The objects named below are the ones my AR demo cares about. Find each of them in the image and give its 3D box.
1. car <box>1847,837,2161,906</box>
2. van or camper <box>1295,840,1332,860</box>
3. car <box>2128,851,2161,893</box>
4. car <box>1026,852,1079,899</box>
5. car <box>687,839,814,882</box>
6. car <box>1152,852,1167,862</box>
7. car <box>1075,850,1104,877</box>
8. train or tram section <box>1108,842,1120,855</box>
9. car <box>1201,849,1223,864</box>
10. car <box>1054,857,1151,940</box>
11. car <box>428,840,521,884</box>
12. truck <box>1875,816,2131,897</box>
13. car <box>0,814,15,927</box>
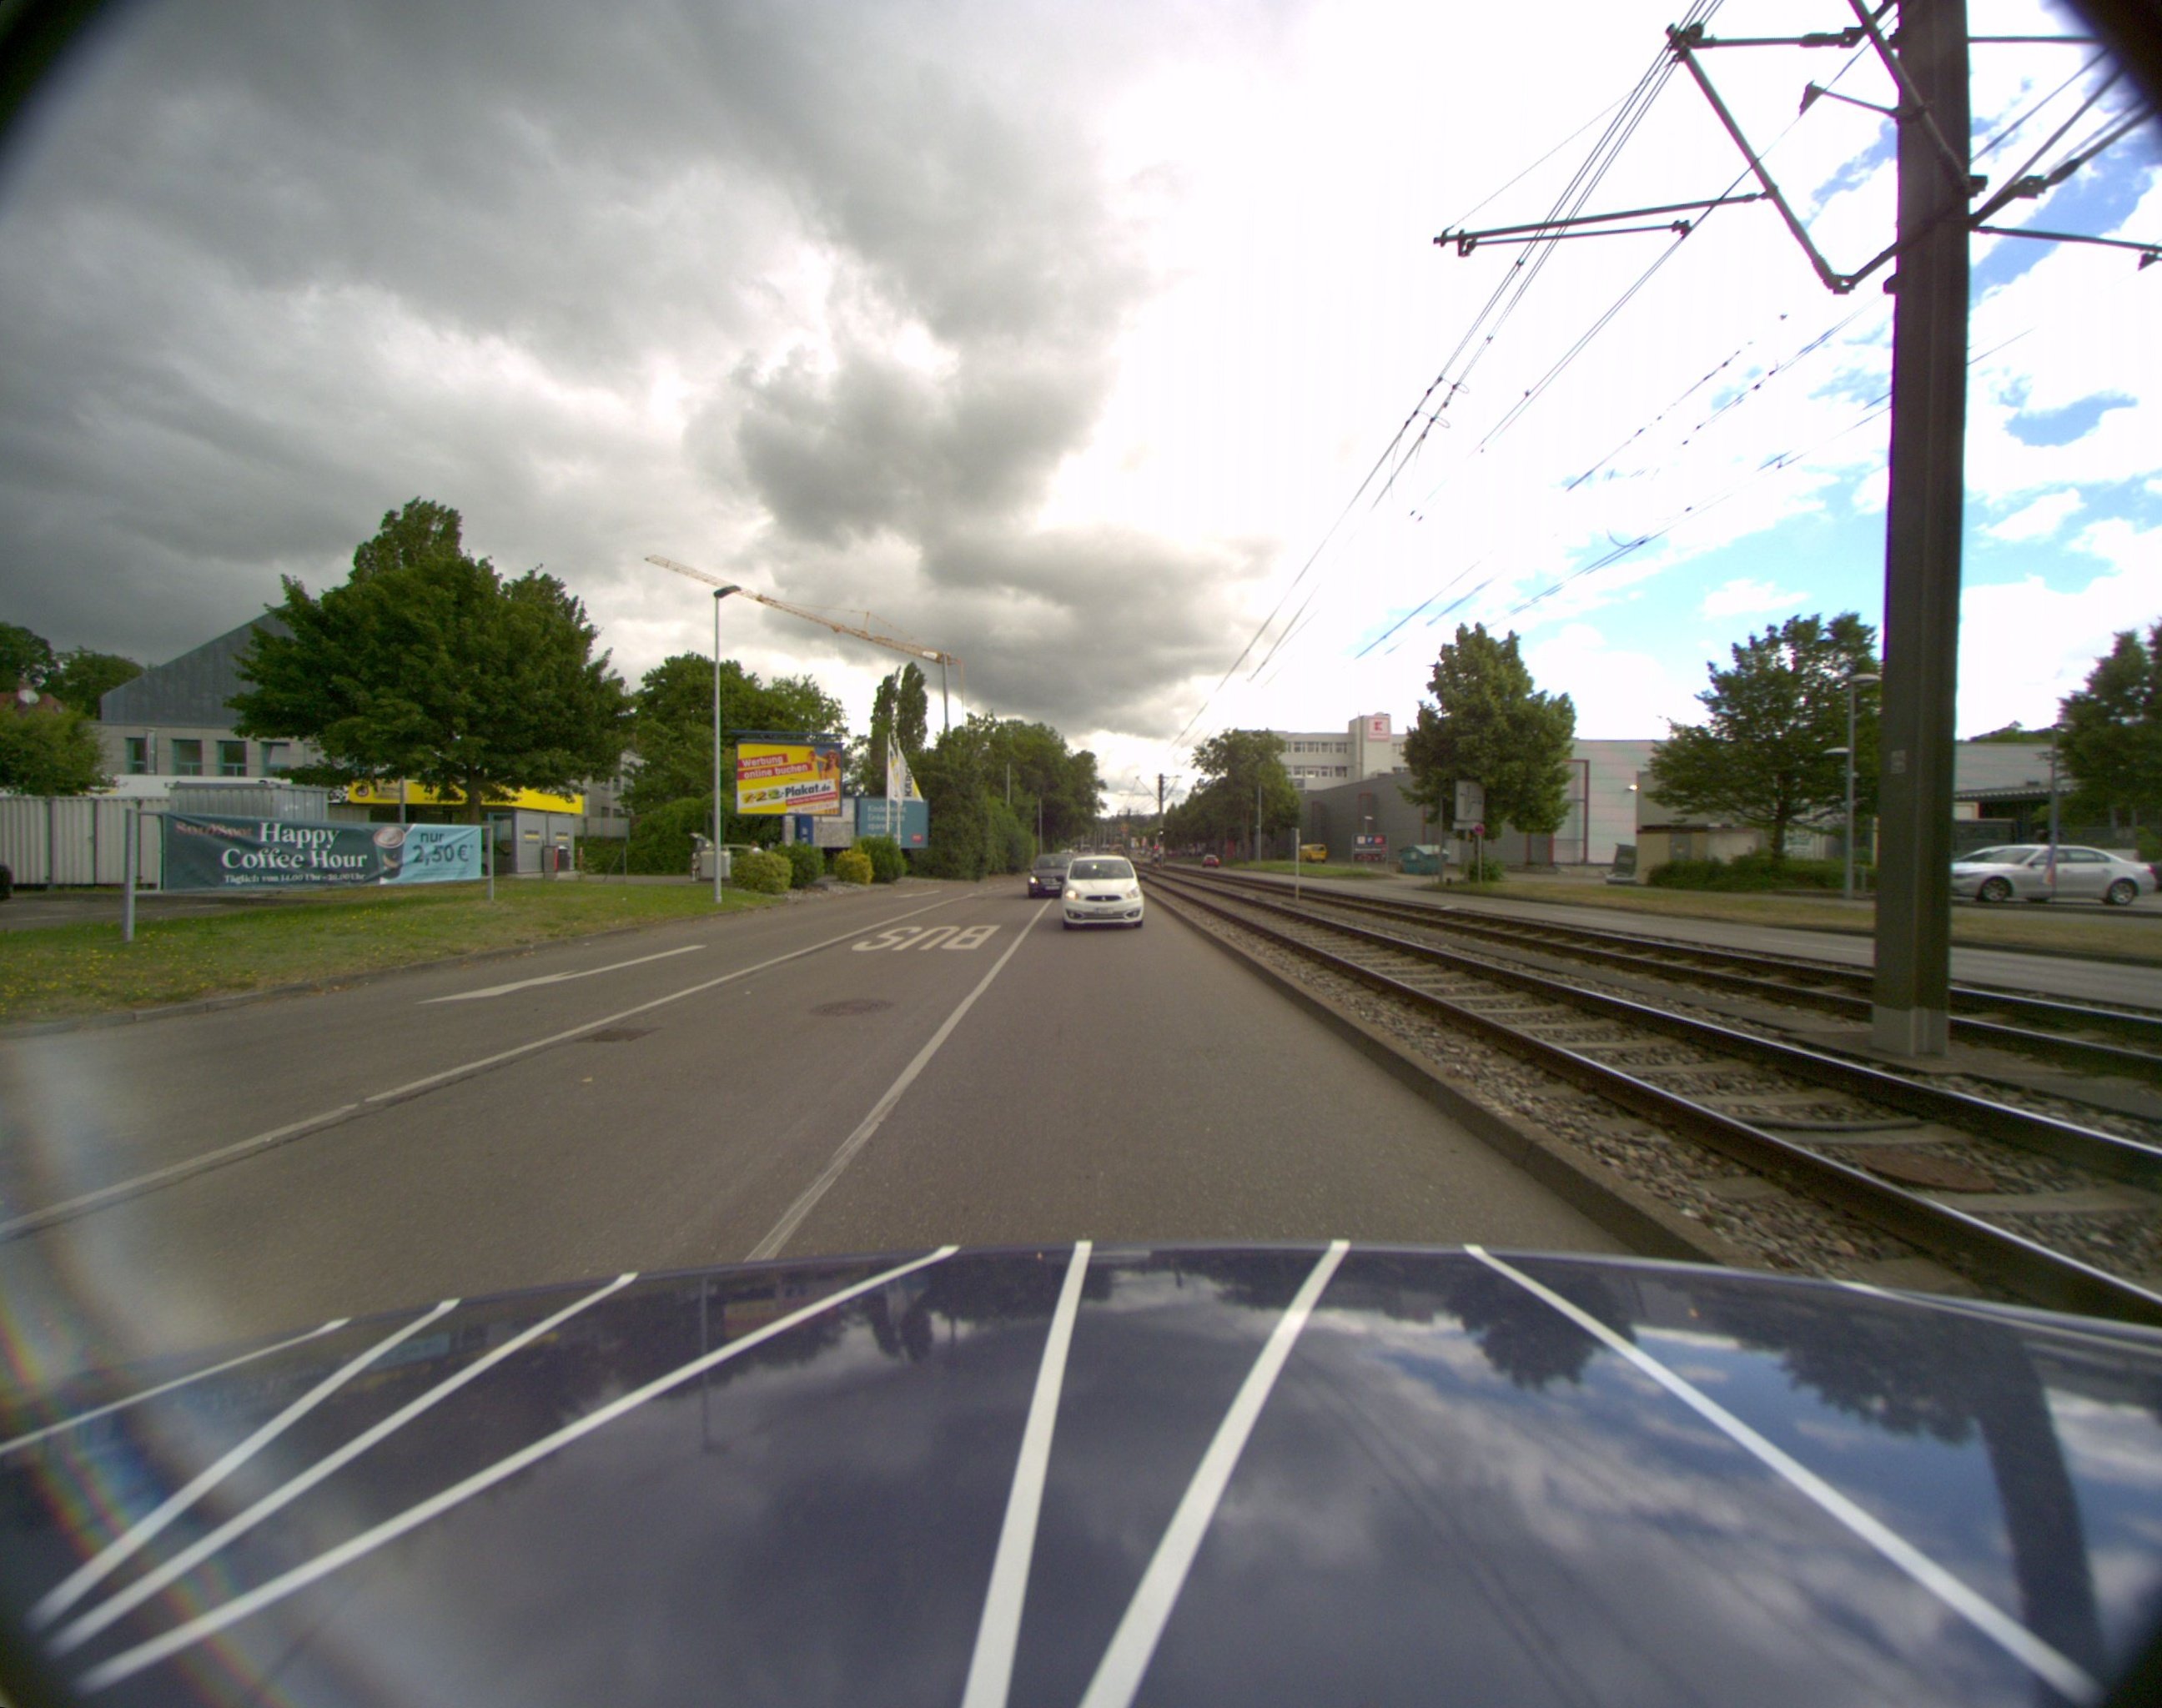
[{"bbox_3d":[23.318,0.428,19.396,4.793,1.619,2.652,0,0,1],"label":"car"},{"bbox_3d":[25.124,-0.427,82.326,2.109,2.002,5.241,-1,0,-3],"label":"van or camper"},{"bbox_3d":[36.950,0.606,24.174,1.614,1.392,3.998,-1,1,-5],"label":"car"},{"bbox_3d":[-0.979,0.740,27.868,1.714,1.586,4.000,-1,0,1],"label":"car"},{"bbox_3d":[-13.370,0.248,31.035,4.029,1.646,2.944,0,0,-6],"label":"car"},{"bbox_3d":[11.786,0.429,114.839,1.763,1.393,4.443,2,0,0],"label":"car"},{"bbox_3d":[0.520,0.526,46.719,1.693,1.521,4.000,-2,1,1],"label":"car"},{"bbox_3d":[9.546,-1.631,221.770,2.778,3.753,13.784,-1,0,-1],"label":"train or tram section"},{"bbox_3d":[15.257,0.262,88.567,1.797,1.761,3.999,0,0,-1],"label":"car"},{"bbox_3d":[0.411,0.833,16.178,1.765,1.469,4.030,-2,0,0],"label":"car"},{"bbox_3d":[-23.783,0.279,29.951,1.633,1.630,3.525,0,0,-16],"label":"car"},{"bbox_3d":[29.756,0.060,24.892,1.998,2.369,5.264,0,0,1],"label":"truck"},{"bbox_3d":[-16.964,0.256,9.220,1.824,1.665,4.338,2,1,5],"label":"car"}]
